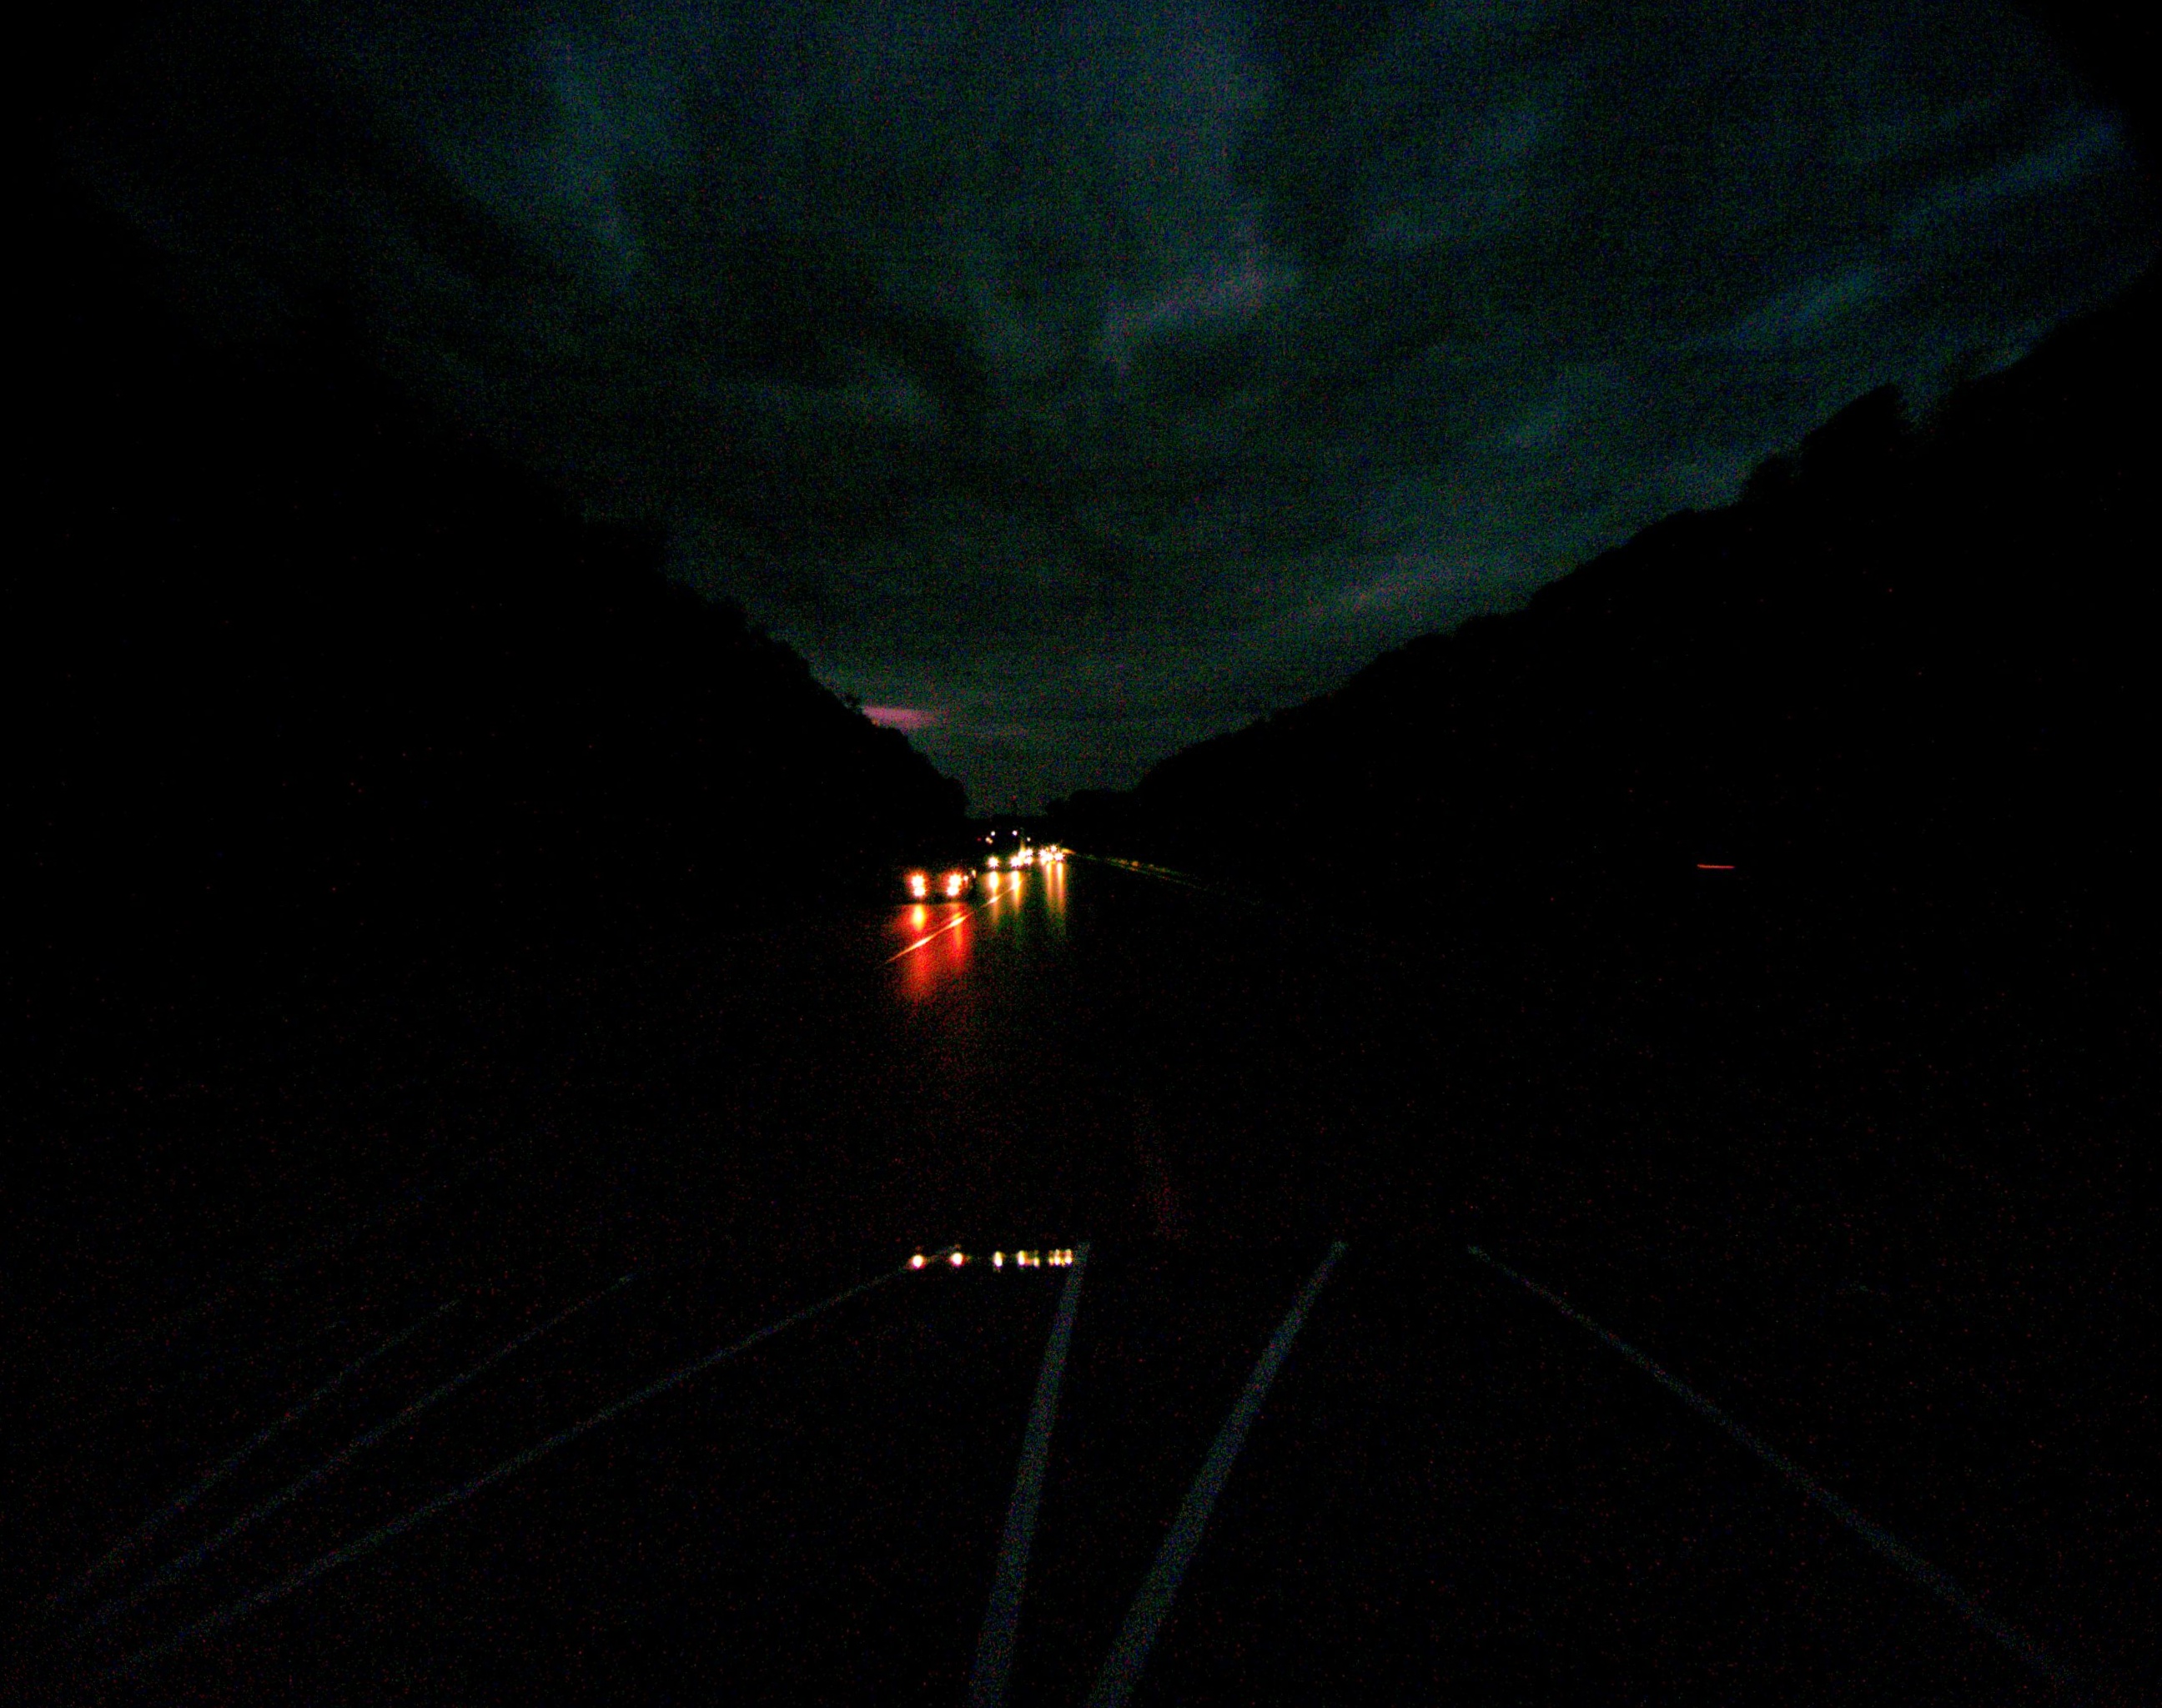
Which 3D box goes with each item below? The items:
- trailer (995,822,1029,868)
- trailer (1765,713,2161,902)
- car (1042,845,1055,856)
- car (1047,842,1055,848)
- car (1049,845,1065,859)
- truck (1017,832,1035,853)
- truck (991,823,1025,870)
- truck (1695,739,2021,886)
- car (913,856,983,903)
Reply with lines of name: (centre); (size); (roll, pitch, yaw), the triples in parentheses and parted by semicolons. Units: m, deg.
trailer: (-6.662, -1.021, 74.709); (2.489, 4.050, 13.497); (-2, 2, -2)
trailer: (25.015, -1.095, 19.293); (3.199, 4.081, 13.738); (-2, 1, 1)
car: (-5.951, -0.619, 137.675); (1.924, 1.706, 4.939); (-3, 2, -6)
car: (-7.902, -2.435, 198.699); (1.697, 1.481, 4.945); (-1, 1, -6)
car: (-3.085, -0.311, 97.761); (1.870, 1.701, 4.582); (-2, 1, -1)
truck: (-11.034, -2.332, 151.511); (3.342, 3.946, 13.526); (-2, 2, -5)
truck: (-6.443, -0.727, 67.834); (2.498, 3.946, 5.588); (-2, 2, -1)
truck: (25.195, -1.225, 25.456); (3.198, 4.081, 7.688); (-2, 1, 2)
car: (-4.834, 0.878, 28.301); (1.696, 1.481, 4.948); (-2, 0, -1)
